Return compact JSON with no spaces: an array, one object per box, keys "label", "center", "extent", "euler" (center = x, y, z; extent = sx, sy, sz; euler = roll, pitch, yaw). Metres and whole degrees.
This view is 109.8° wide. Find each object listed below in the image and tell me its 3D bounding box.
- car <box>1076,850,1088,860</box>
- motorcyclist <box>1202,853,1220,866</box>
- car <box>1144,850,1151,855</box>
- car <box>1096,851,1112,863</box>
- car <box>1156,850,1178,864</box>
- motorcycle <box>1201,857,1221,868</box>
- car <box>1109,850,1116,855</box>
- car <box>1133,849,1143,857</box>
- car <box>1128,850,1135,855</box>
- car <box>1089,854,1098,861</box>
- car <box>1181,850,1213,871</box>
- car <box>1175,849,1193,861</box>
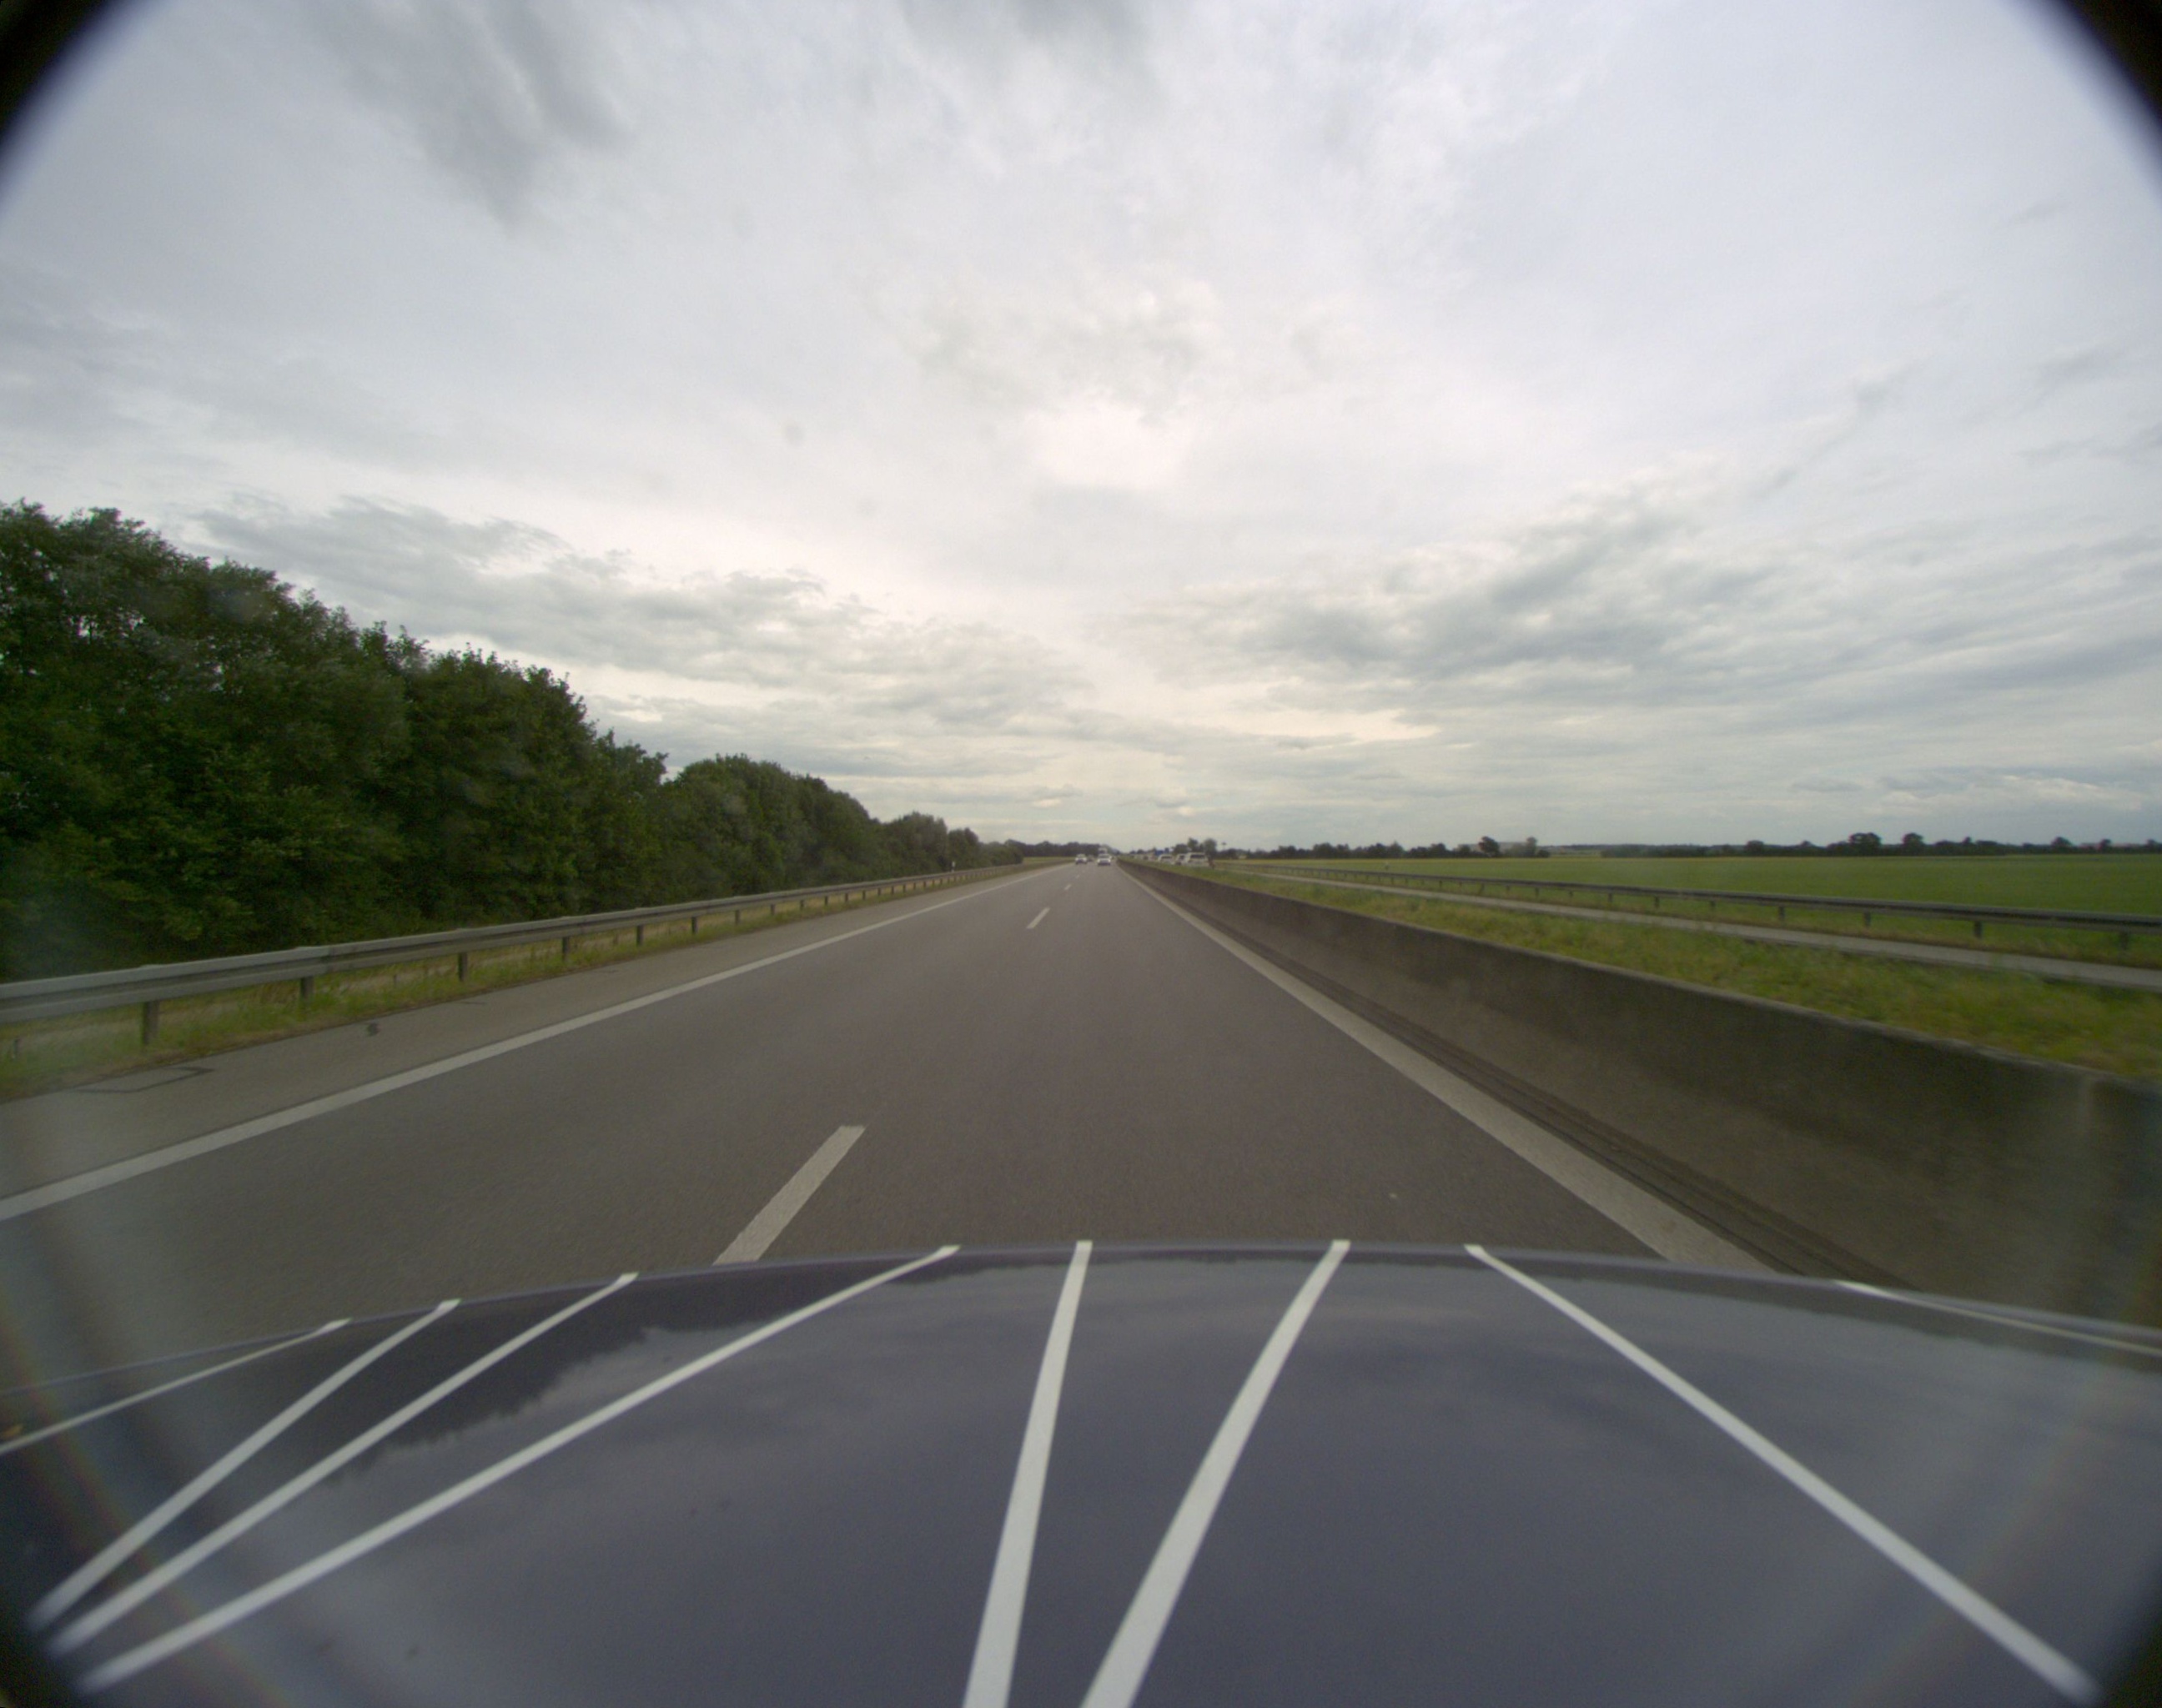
[{"label":"car","center":[0.191,0.168,130.500],"extent":[1.915,1.553,4.288],"euler":[-1,1,2]},{"label":"motorcyclist","center":[13.190,0.557,77.267],"extent":[1.570,1.363,1.252],"euler":[1,1,1]},{"label":"car","center":[20.623,-0.350,235.539],"extent":[1.750,1.479,4.530],"euler":[1,0,2]},{"label":"car","center":[3.219,0.386,106.021],"extent":[1.916,1.553,4.286],"euler":[-1,1,-3]},{"label":"car","center":[9.591,0.317,84.830],"extent":[1.870,1.565,4.990],"euler":[1,0,1]},{"label":"motorcycle","center":[13.184,0.886,77.291],"extent":[1.570,1.072,2.982],"euler":[1,1,1]},{"label":"car","center":[9.320,-0.450,226.792],"extent":[1.915,1.553,4.288],"euler":[-1,1,2]},{"label":"car","center":[12.508,-0.151,167.473],"extent":[1.952,1.684,5.174],"euler":[1,1,1]},{"label":"car","center":[15.749,-0.501,236.595],"extent":[1.845,1.684,4.358],"euler":[1,1,1]},{"label":"car","center":[2.910,0.778,174.455],"extent":[1.915,1.553,4.288],"euler":[-1,1,2]},{"label":"car","center":[9.398,0.497,61.753],"extent":[1.870,1.565,4.693],"euler":[1,0,0]},{"label":"car","center":[14.043,0.119,103.686],"extent":[1.840,1.617,4.691],"euler":[1,1,1]}]
